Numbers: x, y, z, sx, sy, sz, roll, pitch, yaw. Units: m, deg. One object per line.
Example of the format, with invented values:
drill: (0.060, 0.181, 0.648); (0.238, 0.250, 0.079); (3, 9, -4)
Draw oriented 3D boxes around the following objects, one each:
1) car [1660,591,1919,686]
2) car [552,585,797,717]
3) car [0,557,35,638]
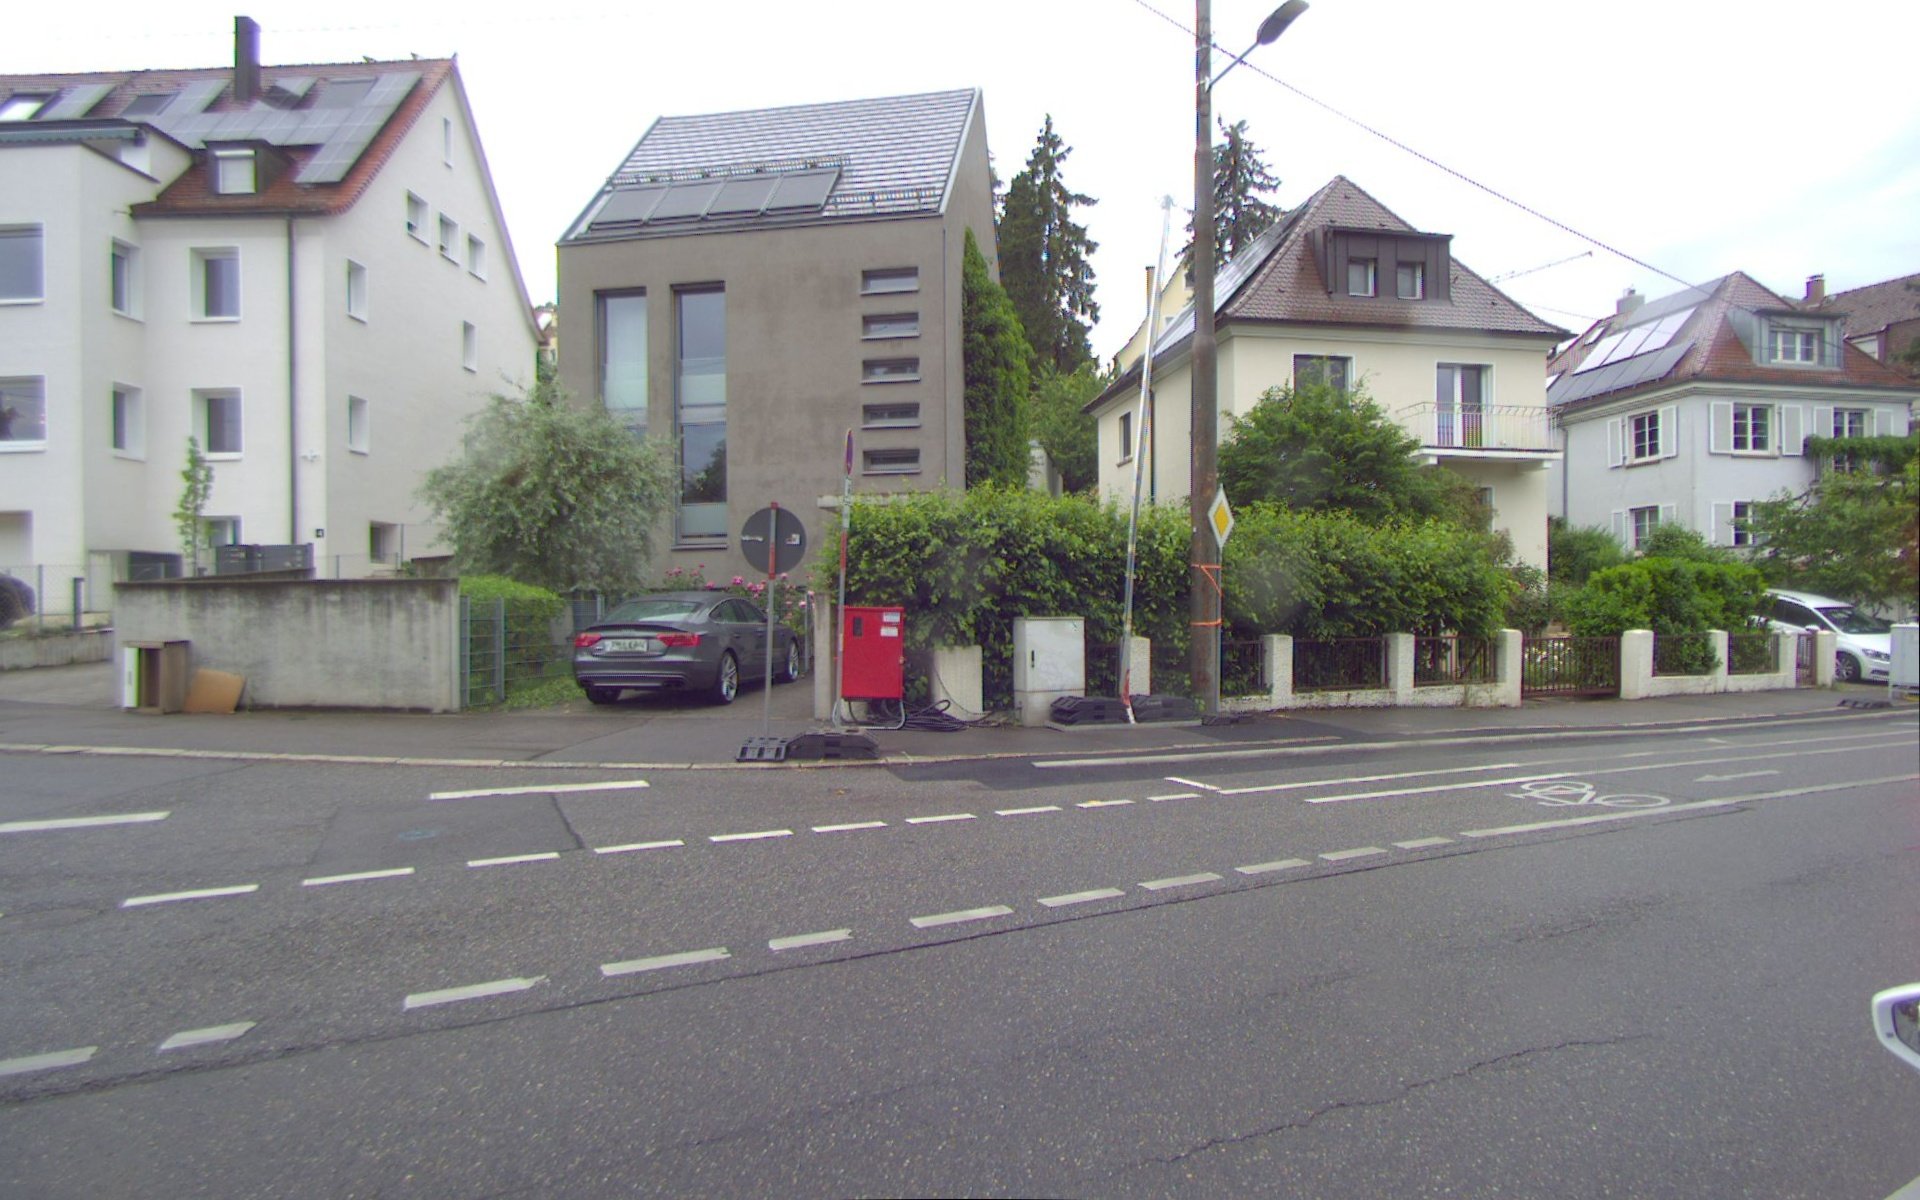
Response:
car: (19.584, 0.822, 23.903); (1.870, 2.033, 4.628); (1, 0, -18)
car: (-3.621, 0.563, 13.567); (1.740, 1.506, 4.002); (0, 1, 7)
car: (-16.744, 0.048, 15.162); (1.576, 1.298, 4.008); (2, 4, 6)
